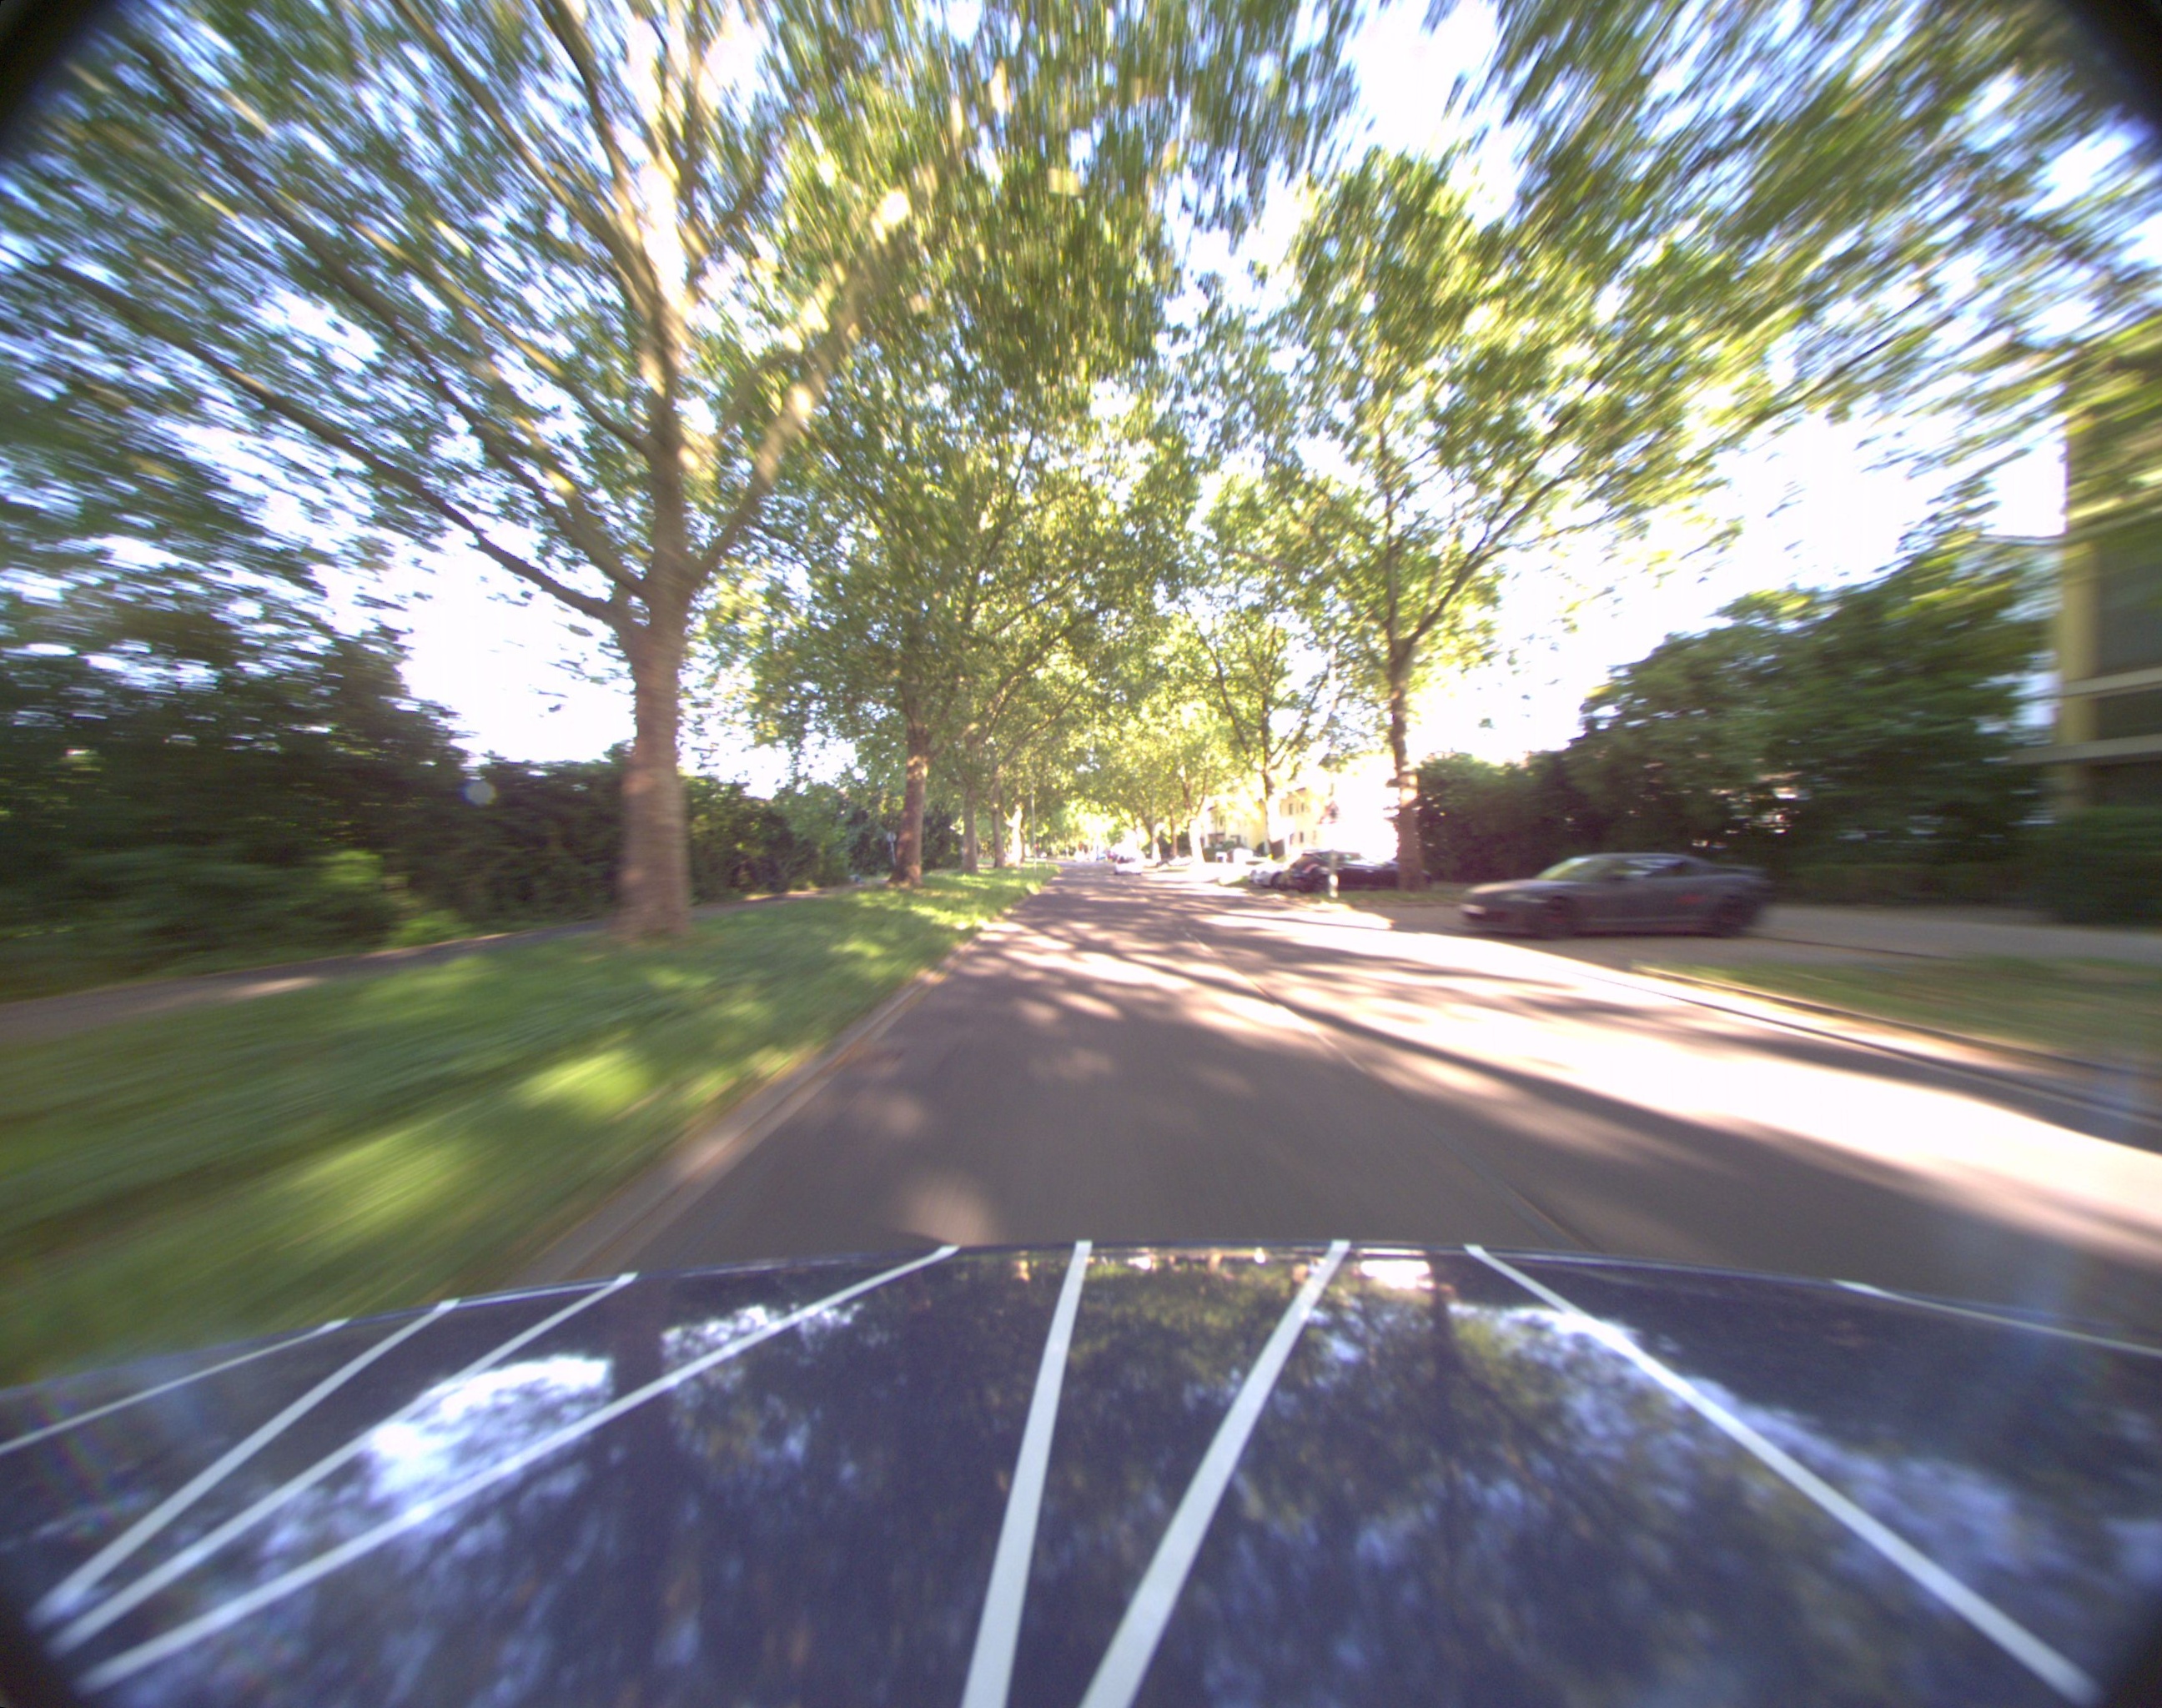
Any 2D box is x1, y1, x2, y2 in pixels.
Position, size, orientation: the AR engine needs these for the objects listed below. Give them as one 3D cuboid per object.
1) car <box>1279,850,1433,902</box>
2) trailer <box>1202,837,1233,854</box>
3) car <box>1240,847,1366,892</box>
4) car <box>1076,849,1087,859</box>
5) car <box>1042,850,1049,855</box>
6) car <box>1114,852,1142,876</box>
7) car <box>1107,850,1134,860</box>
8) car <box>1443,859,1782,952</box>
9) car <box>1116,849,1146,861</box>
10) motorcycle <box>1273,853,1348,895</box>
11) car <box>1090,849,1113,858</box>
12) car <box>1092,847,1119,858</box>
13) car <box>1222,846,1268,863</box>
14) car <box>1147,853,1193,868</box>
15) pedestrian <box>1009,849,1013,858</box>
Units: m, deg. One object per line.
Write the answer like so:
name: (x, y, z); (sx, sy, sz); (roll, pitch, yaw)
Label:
car: (8.577, 0.657, 23.892); (4.172, 1.497, 1.801); (-1, 1, -3)
trailer: (17.054, -1.053, 95.054); (3.463, 1.914, 1.643); (-5, 0, -4)
car: (8.441, 0.566, 29.135); (4.195, 1.575, 1.999); (-1, 1, -4)
car: (0.136, -0.057, 128.856); (1.789, 1.504, 3.837); (-2, 2, 0)
car: (-10.227, -0.352, 218.283); (1.721, 1.492, 4.093); (-1, 0, -1)
car: (3.057, 0.635, 50.029); (1.539, 1.450, 3.184); (-1, 0, -2)
car: (6.189, 0.094, 118.661); (3.883, 1.509, 1.664); (-1, 0, -7)
car: (8.345, 0.771, 12.189); (4.251, 1.345, 1.741); (0, 1, -1)
car: (6.887, 0.172, 104.820); (3.999, 1.509, 1.816); (-1, 1, -4)
motorcycle: (7.924, 0.681, 26.273); (2.392, 1.380, 0.648); (-1, 0, -5)
car: (3.910, -0.067, 143.570); (4.104, 1.706, 1.830); (-1, 1, -6)
car: (4.100, -0.232, 128.555); (4.399, 1.813, 1.994); (0, 1, -6)
car: (16.032, 0.029, 74.372); (3.997, 1.455, 1.901); (-2, 0, -1)
car: (7.752, 0.578, 66.352); (3.836, 1.308, 1.789); (0, 1, -3)
pedestrian: (-14.253, -0.092, 155.175); (0.756, 1.837, 0.802); (0, 1, -3)
